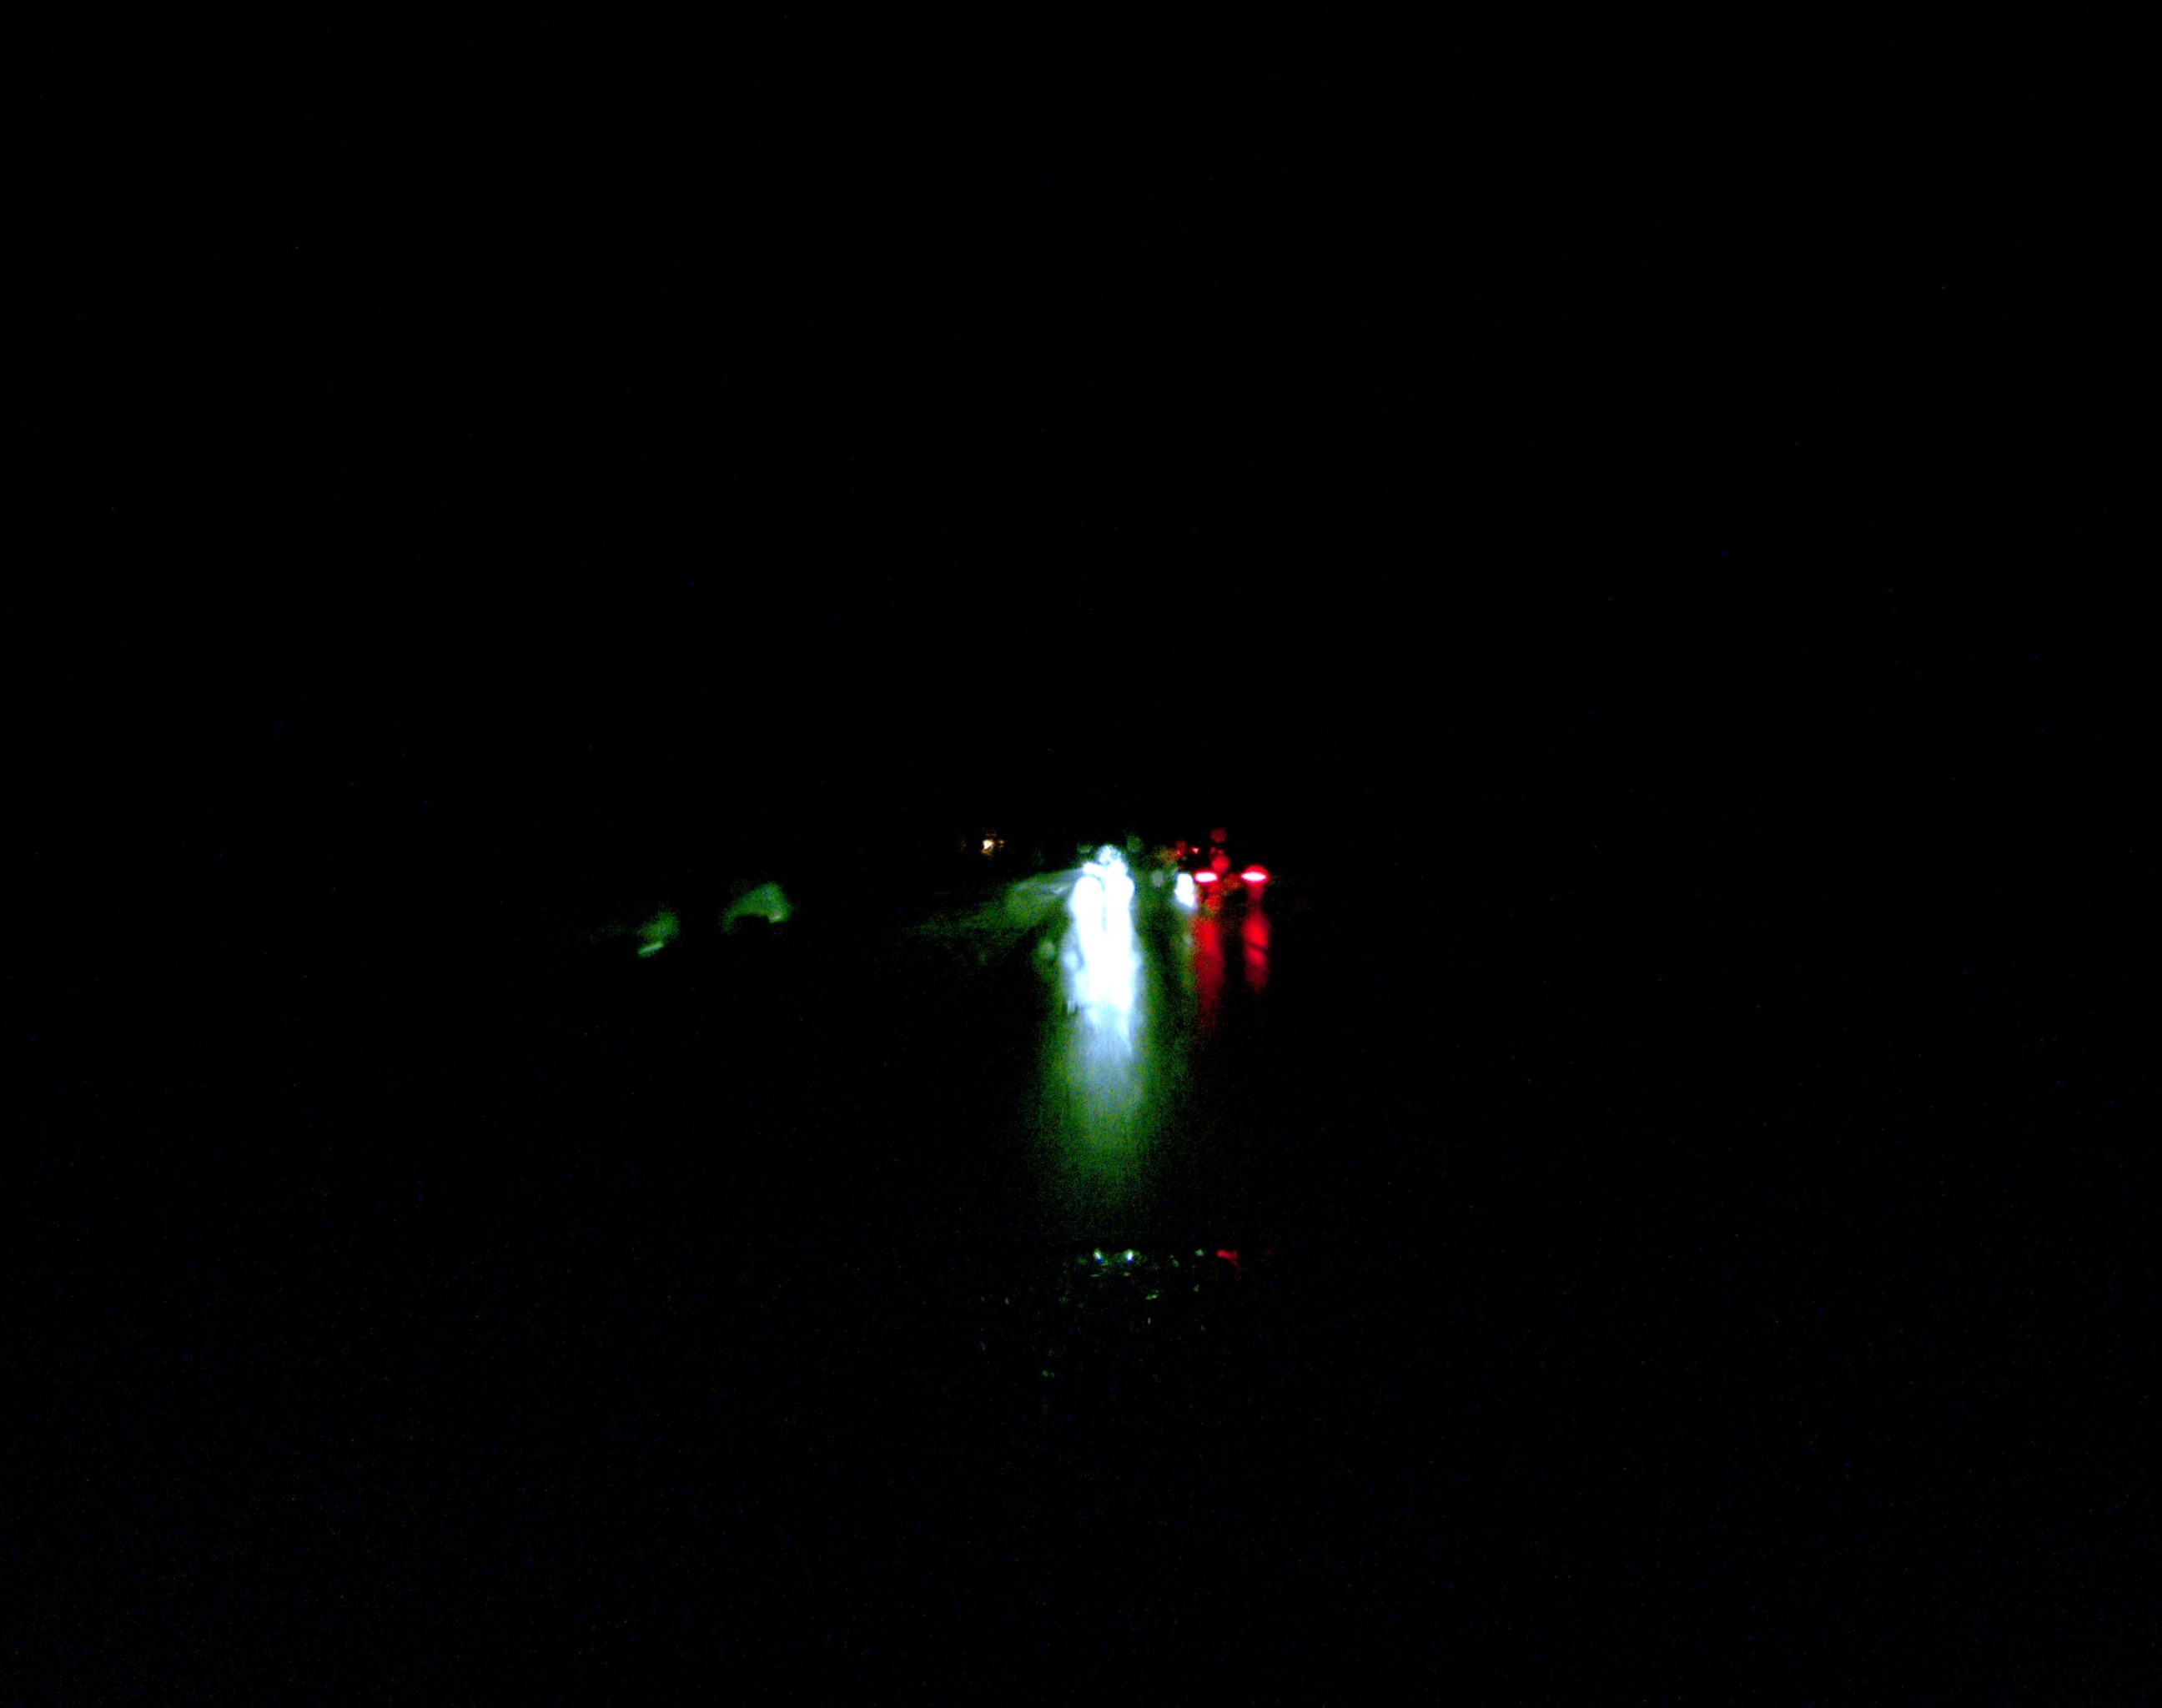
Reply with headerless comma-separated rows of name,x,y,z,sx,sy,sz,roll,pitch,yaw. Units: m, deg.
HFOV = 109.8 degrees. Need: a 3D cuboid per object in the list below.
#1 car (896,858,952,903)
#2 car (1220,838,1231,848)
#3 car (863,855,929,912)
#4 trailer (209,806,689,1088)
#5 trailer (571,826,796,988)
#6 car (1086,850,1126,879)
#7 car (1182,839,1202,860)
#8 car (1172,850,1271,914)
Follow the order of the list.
car,-7.319,1.199,35.798,1.883,1.799,4.154,-4,1,-3
car,28.411,-2.164,149.435,1.980,1.768,4.003,-4,1,13
car,-7.494,1.124,31.215,1.883,2.028,4.388,-4,1,-5
trailer,-6.757,0.810,9.022,1.634,2.351,4.652,-5,1,-1
trailer,-6.921,0.799,13.873,1.609,2.338,4.430,-5,1,-1
car,1.485,0.580,43.159,1.998,1.412,4.001,-4,1,5
car,12.243,-0.505,83.582,1.922,2.045,4.890,-4,1,11
car,3.812,0.684,21.475,1.998,1.451,4.898,-3,1,2
